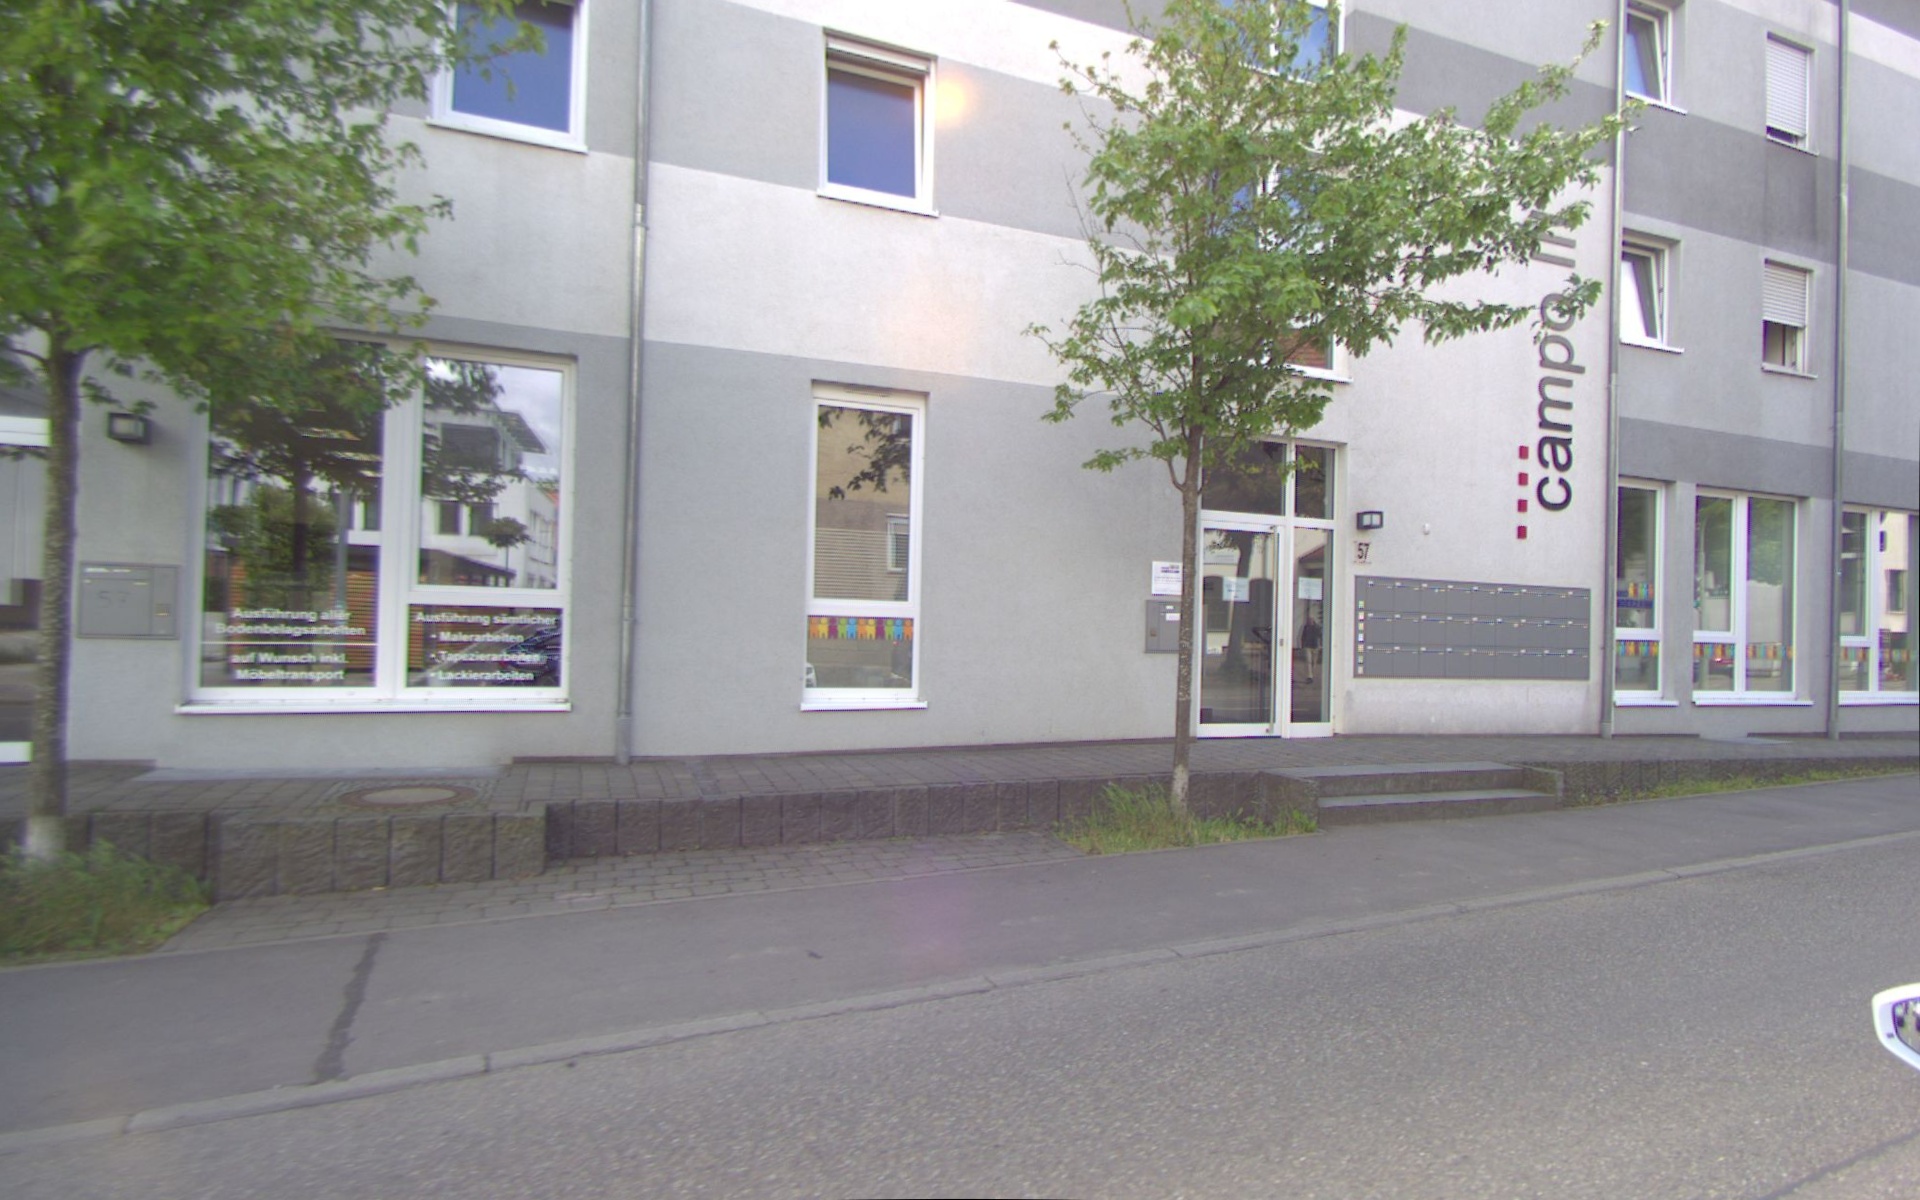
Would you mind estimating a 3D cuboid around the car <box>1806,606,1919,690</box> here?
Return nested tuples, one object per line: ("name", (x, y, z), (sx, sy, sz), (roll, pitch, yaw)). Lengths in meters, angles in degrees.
("car", (24.210, 1.196, 24.837), (2.068, 2.036, 4.605), (1, 0, -26))

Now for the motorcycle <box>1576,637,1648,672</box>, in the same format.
("motorcycle", (20.543, 1.709, 31.641), (2.317, 1.018, 1.193), (1, 0, -37))
